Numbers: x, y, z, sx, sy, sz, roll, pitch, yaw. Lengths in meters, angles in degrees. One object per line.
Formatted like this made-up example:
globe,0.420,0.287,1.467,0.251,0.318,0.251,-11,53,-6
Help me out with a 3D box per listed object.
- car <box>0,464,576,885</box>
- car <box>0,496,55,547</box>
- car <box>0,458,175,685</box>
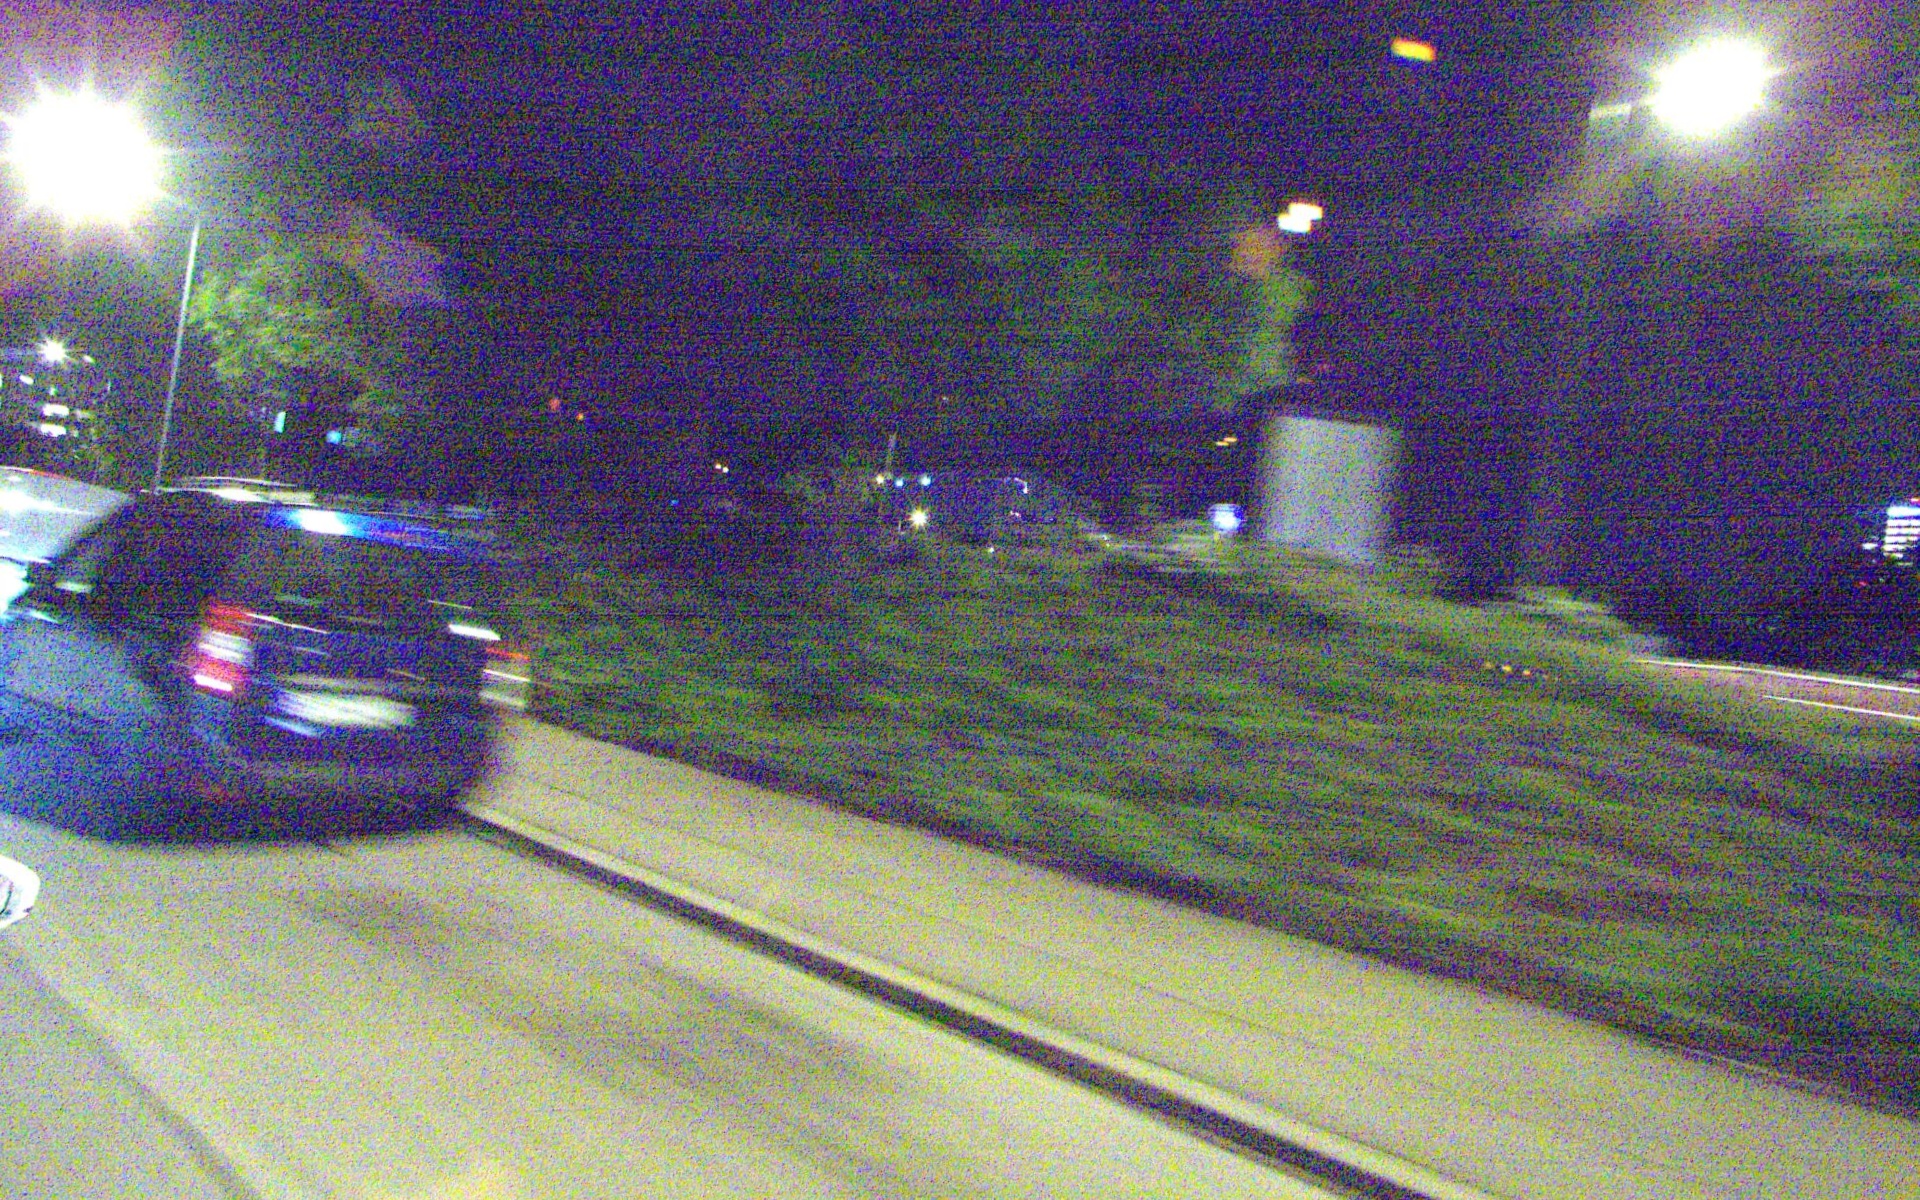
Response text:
car,-4.543,0.256,6.273,4.248,1.799,1.732,6,-3,34
car,-54.960,-4.572,58.789,2.010,2.554,5.997,9,-3,-34
car,-10.808,-0.470,11.046,5.274,2.037,1.994,6,-2,37
